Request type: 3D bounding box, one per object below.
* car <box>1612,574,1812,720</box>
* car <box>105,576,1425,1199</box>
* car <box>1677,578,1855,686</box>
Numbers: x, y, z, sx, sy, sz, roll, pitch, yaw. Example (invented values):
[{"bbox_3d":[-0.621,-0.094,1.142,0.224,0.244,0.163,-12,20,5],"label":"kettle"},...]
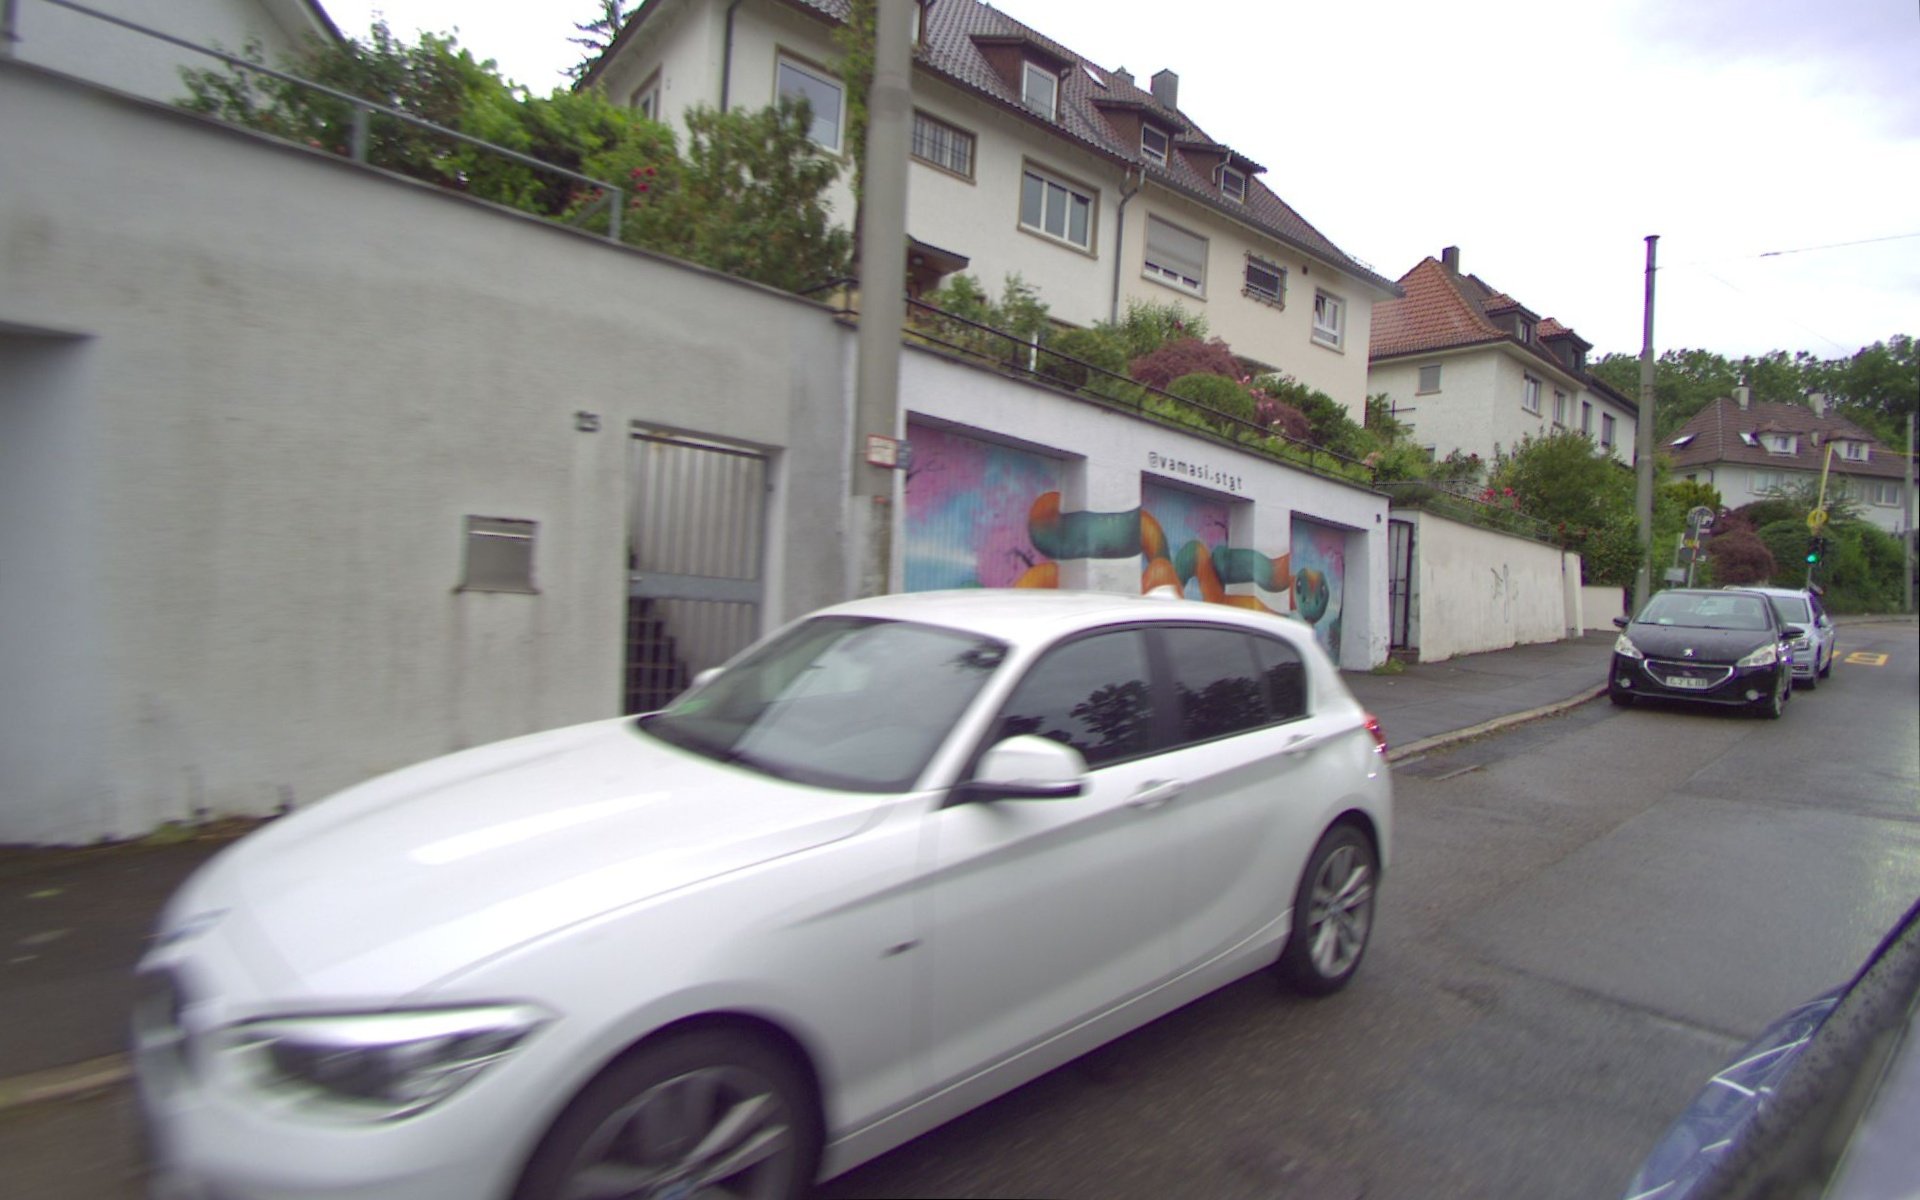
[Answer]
[{"bbox_3d":[9.834,0.464,13.118,1.713,1.531,3.941,4,3,41],"label":"car"},{"bbox_3d":[-0.178,0.663,3.336,3.974,1.431,1.707,-1,3,-43],"label":"car"},{"bbox_3d":[13.248,0.407,16.527,1.782,1.437,4.360,5,4,44],"label":"car"}]
